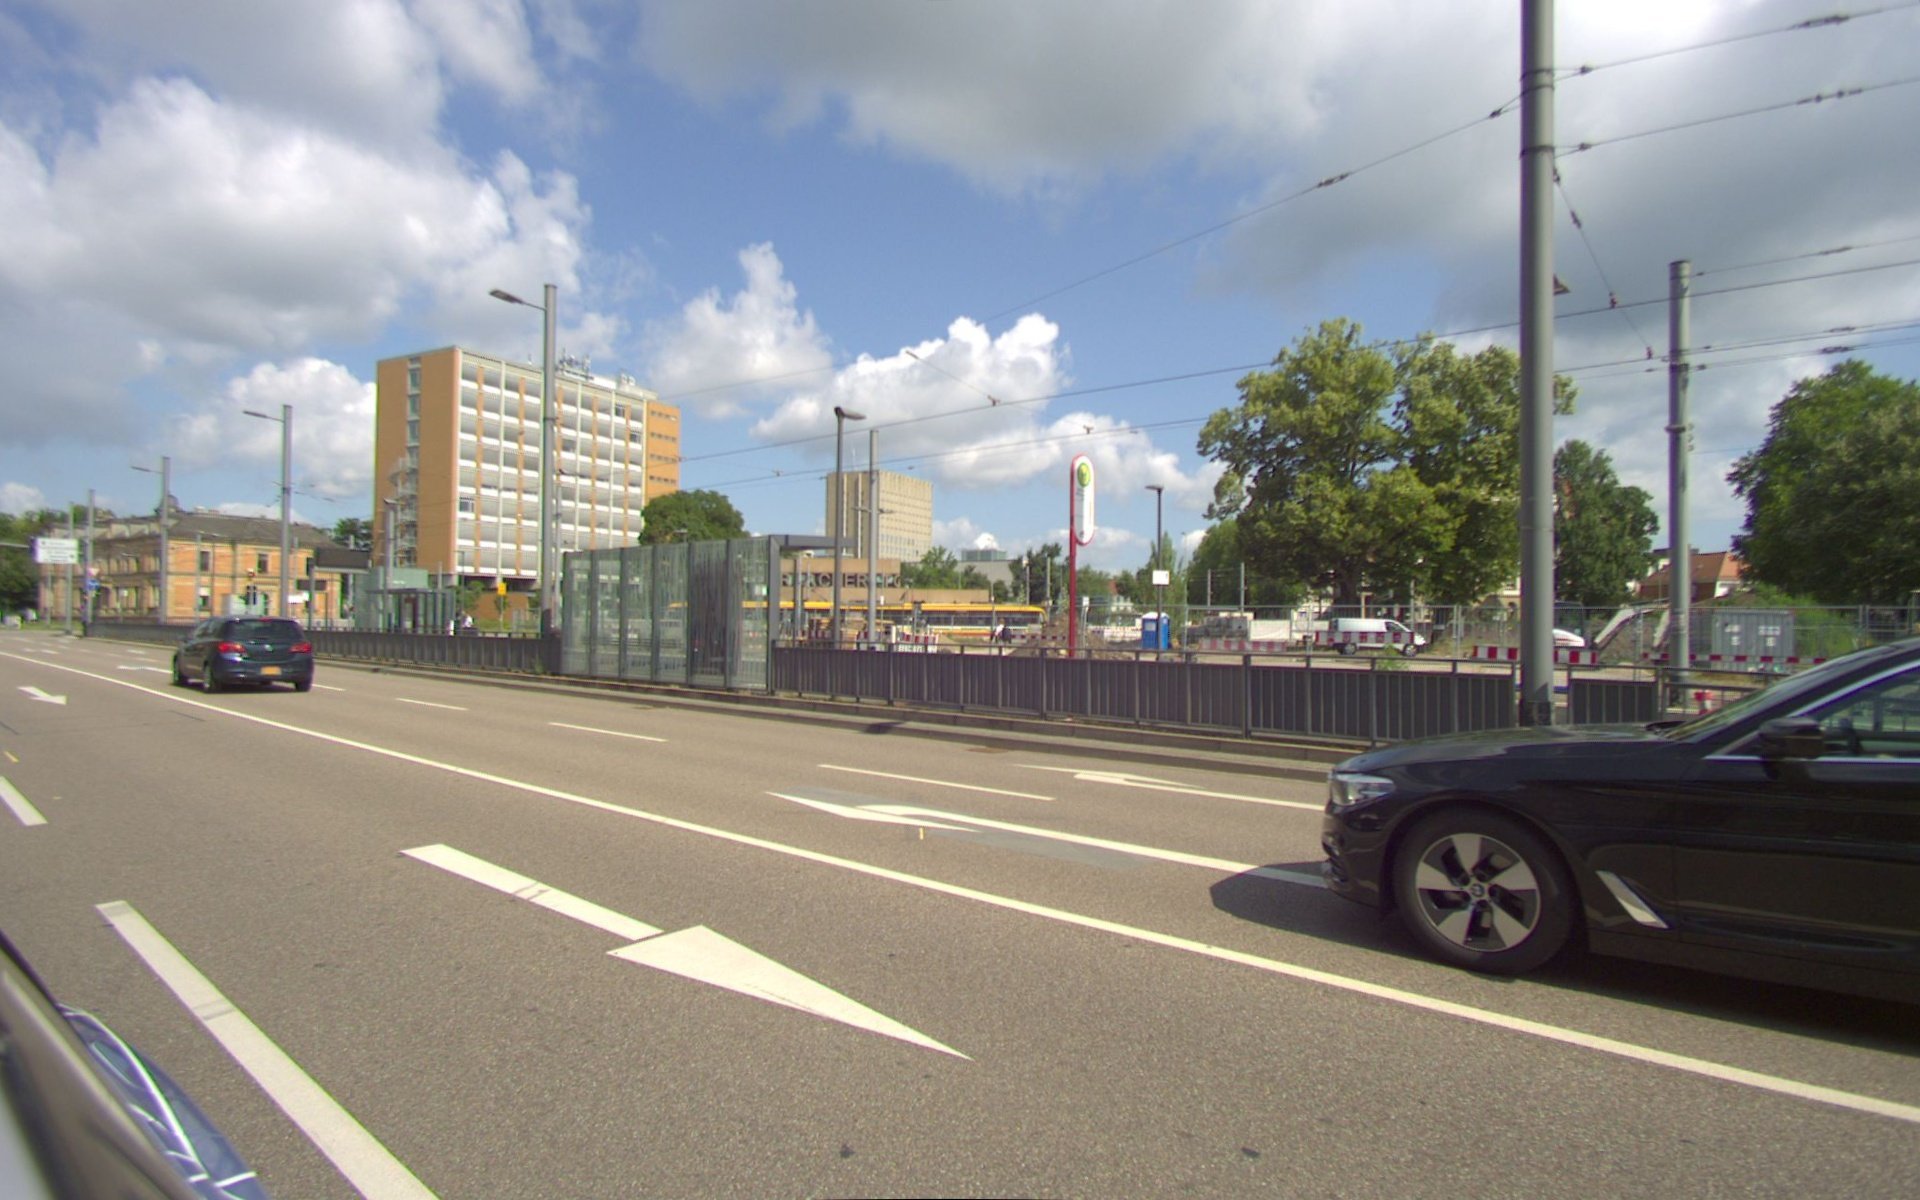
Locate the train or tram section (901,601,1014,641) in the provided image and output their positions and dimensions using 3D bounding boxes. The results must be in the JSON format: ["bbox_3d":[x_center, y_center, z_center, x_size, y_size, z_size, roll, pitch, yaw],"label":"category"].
[{"bbox_3d":[-0.309,2.045,96.737,10.447,3.507,3.327,-1,-3,-4],"label":"train or tram section"}]

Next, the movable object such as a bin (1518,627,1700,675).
[{"bbox_3d":[22.308,1.725,35.091,5.132,1.514,1.980,-1,-2,29],"label":"movable object such as a bin"}]

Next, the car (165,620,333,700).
[{"bbox_3d":[-14.107,1.123,20.018,3.740,1.428,1.895,-1,-2,42],"label":"car"}]

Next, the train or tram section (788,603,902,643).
[{"bbox_3d":[-10.826,2.208,95.945,10.447,3.507,3.327,-1,-3,-4],"label":"train or tram section"}]

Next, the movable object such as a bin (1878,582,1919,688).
[{"bbox_3d":[28.709,1.021,29.610,1.995,2.934,5.094,-1,-2,34],"label":"movable object such as a bin"}]

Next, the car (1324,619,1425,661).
[{"bbox_3d":[22.338,2.153,54.701,4.592,2.154,1.935,-1,-2,9],"label":"car"}]

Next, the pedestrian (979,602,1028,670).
[{"bbox_3d":[1.317,1.086,30.690,1.051,2.029,1.053,-1,-3,45],"label":"pedestrian"}]

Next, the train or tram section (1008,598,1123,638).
[{"bbox_3d":[10.054,1.767,97.561,10.447,3.507,3.327,-1,-3,-4],"label":"train or tram section"}]

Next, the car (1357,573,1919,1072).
[{"bbox_3d":[4.005,0.717,3.547,4.555,1.564,1.799,-1,-2,39],"label":"car"}]

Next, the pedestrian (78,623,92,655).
[{"bbox_3d":[-55.097,2.440,63.737,0.513,2.029,0.498,-1,-2,30],"label":"pedestrian"}]

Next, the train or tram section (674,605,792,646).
[{"bbox_3d":[-21.189,2.409,95.147,10.447,3.507,3.327,-1,-3,-4],"label":"train or tram section"}]
